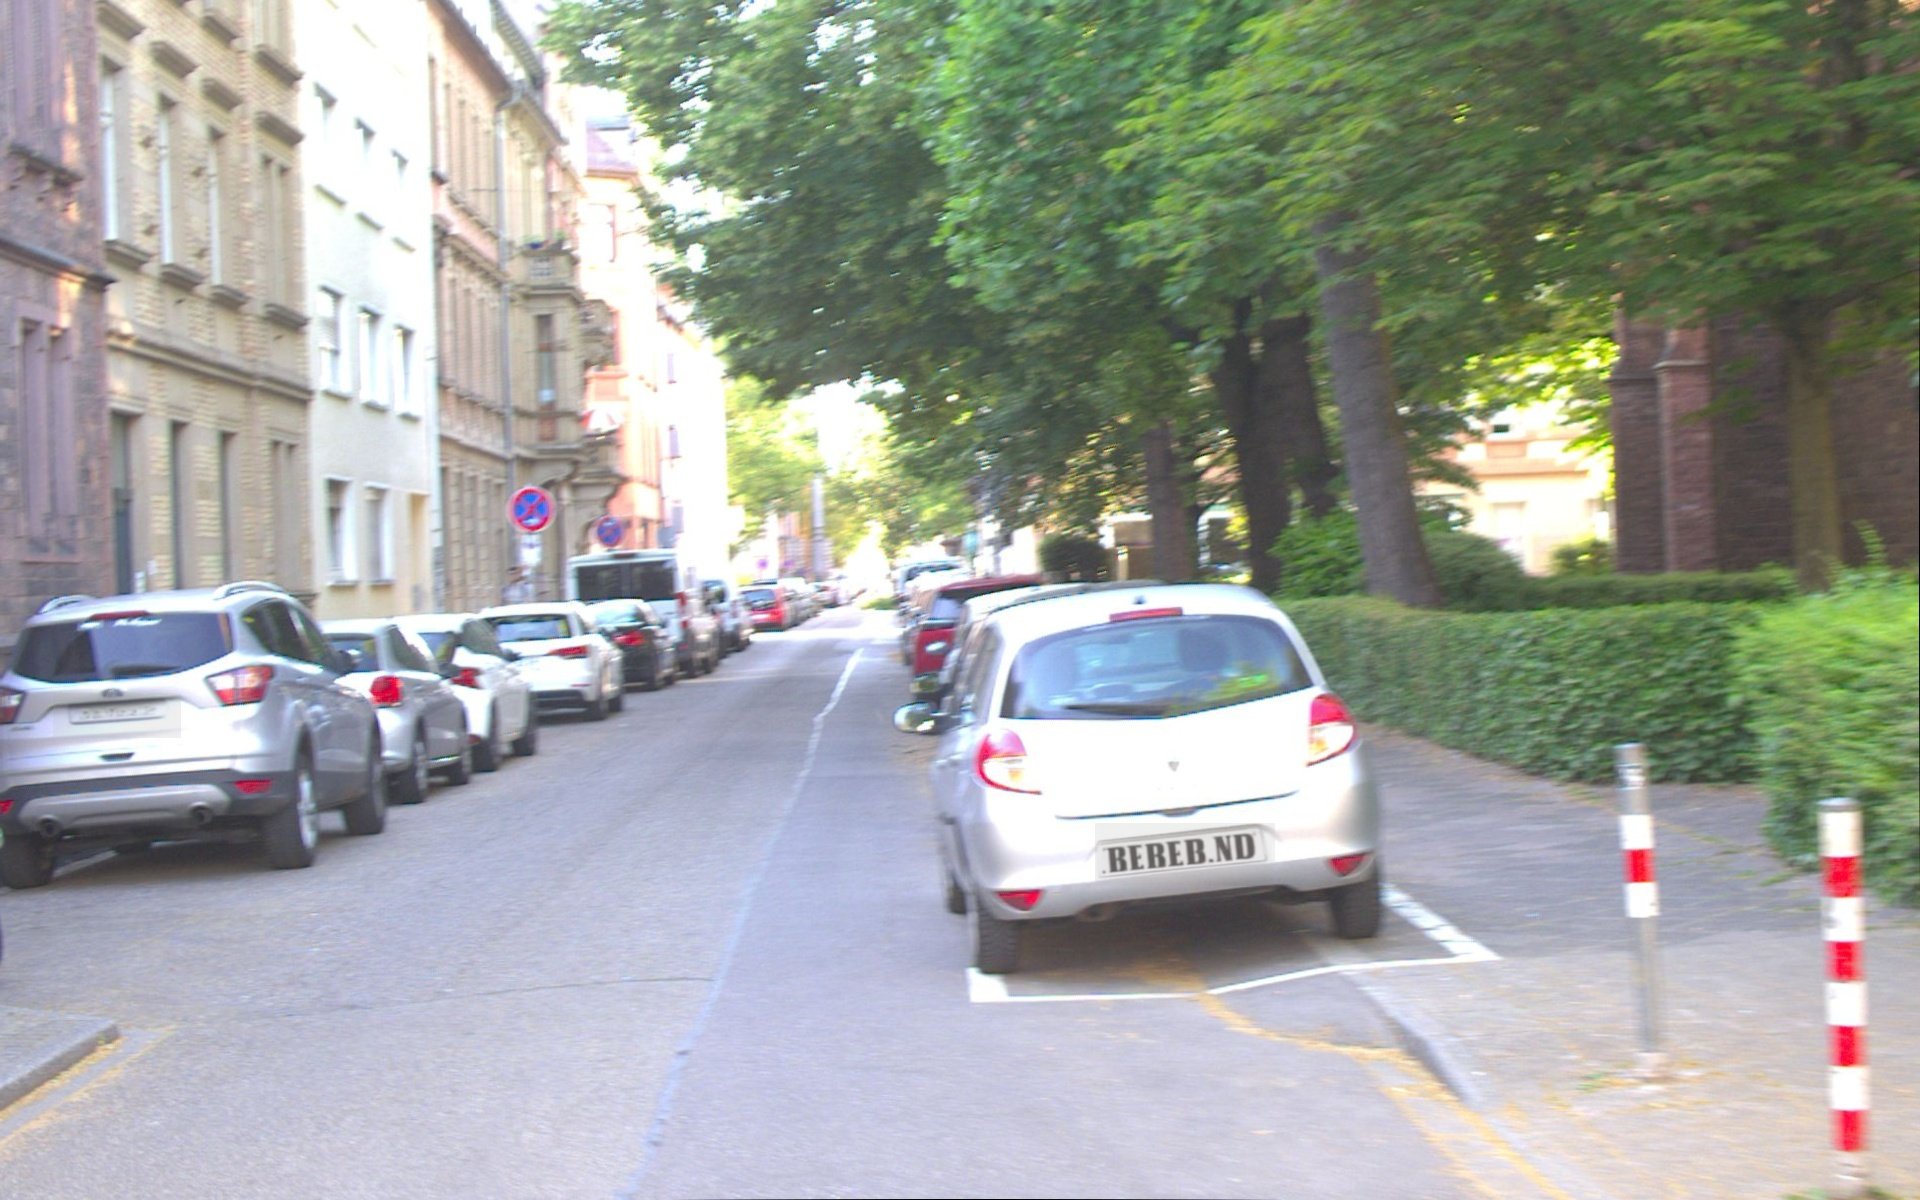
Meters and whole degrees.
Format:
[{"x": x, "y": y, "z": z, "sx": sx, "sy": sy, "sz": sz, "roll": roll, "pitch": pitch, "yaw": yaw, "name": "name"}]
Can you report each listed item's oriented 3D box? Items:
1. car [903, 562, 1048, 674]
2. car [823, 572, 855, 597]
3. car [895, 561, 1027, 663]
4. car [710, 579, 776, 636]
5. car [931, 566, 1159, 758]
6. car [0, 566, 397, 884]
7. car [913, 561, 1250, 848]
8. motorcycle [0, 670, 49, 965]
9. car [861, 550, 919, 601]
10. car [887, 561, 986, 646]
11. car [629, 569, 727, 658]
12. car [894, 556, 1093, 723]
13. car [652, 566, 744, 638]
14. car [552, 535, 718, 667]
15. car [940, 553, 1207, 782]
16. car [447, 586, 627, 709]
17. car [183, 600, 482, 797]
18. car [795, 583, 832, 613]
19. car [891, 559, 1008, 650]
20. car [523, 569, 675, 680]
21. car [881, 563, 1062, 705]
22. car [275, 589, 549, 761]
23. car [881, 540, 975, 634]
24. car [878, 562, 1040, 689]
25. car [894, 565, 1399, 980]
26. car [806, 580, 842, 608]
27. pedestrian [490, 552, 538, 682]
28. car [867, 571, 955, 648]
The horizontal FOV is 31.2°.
[{"x": 0.193, "y": 0.253, "z": 52.123, "sx": 1.993, "sy": 1.568, "sz": 4.000, "roll": -2, "pitch": 0, "yaw": -2, "name": "car"}, {"x": -8.050, "y": -1.026, "z": 228.874, "sx": 1.993, "sy": 1.641, "sz": 4.000, "roll": -2, "pitch": 0, "yaw": -1, "name": "car"}, {"x": -0.015, "y": 0.182, "z": 56.629, "sx": 1.993, "sy": 1.568, "sz": 4.000, "roll": -2, "pitch": 0, "yaw": -2, "name": "car"}, {"x": -6.889, "y": 0.225, "z": 109.472, "sx": 1.950, "sy": 1.703, "sz": 4.000, "roll": -2, "pitch": 0, "yaw": -3, "name": "car"}, {"x": 0.713, "y": 0.515, "z": 31.630, "sx": 1.841, "sy": 1.590, "sz": 4.000, "roll": -2, "pitch": 1, "yaw": -2, "name": "car"}, {"x": -4.795, "y": 0.699, "z": 21.301, "sx": 1.882, "sy": 1.701, "sz": 4.000, "roll": -3, "pitch": 0, "yaw": 0, "name": "car"}, {"x": 0.638, "y": 0.562, "z": 20.794, "sx": 1.723, "sy": 1.517, "sz": 4.000, "roll": -2, "pitch": 0, "yaw": -2, "name": "car"}, {"x": -4.816, "y": 0.919, "z": 14.853, "sx": 0.664, "sy": 1.203, "sz": 2.310, "roll": -2, "pitch": 0, "yaw": -43, "name": "motorcycle"}, {"x": -2.533, "y": -0.894, "z": 124.232, "sx": 1.993, "sy": 1.722, "sz": 4.000, "roll": -2, "pitch": 1, "yaw": -1, "name": "car"}, {"x": -0.491, "y": 0.060, "z": 68.044, "sx": 1.792, "sy": 1.568, "sz": 4.000, "roll": -2, "pitch": 0, "yaw": -2, "name": "car"}, {"x": -5.879, "y": 0.255, "z": 72.023, "sx": 1.792, "sy": 1.568, "sz": 4.001, "roll": -2, "pitch": 3, "yaw": -2, "name": "car"}, {"x": 0.299, "y": 0.386, "z": 36.456, "sx": 1.894, "sy": 1.620, "sz": 4.000, "roll": -2, "pitch": 0, "yaw": -2, "name": "car"}, {"x": -6.066, "y": 0.039, "z": 79.917, "sx": 1.902, "sy": 1.568, "sz": 4.000, "roll": -2, "pitch": 0, "yaw": -2, "name": "car"}, {"x": -5.541, "y": 0.004, "z": 59.277, "sx": 2.309, "sy": 2.107, "sz": 5.170, "roll": -2, "pitch": 0, "yaw": 0, "name": "car"}, {"x": 0.795, "y": 0.470, "z": 26.438, "sx": 1.741, "sy": 1.568, "sz": 4.000, "roll": -2, "pitch": 0, "yaw": -2, "name": "car"}, {"x": -5.115, "y": 0.543, "z": 41.970, "sx": 1.771, "sy": 1.349, "sz": 4.000, "roll": -1, "pitch": 1, "yaw": -1, "name": "car"}, {"x": -4.981, "y": 0.737, "z": 27.770, "sx": 1.725, "sy": 1.388, "sz": 4.000, "roll": -2, "pitch": 1, "yaw": -1, "name": "car"}, {"x": -8.397, "y": -0.146, "z": 197.788, "sx": 1.993, "sy": 1.641, "sz": 4.000, "roll": -2, "pitch": 0, "yaw": -1, "name": "car"}, {"x": -0.223, "y": 0.080, "z": 63.690, "sx": 1.993, "sy": 1.568, "sz": 4.000, "roll": -2, "pitch": 0, "yaw": -2, "name": "car"}, {"x": -5.489, "y": 0.352, "z": 52.709, "sx": 1.993, "sy": 1.568, "sz": 4.000, "roll": -2, "pitch": 0, "yaw": -2, "name": "car"}, {"x": 0.089, "y": 0.379, "z": 41.507, "sx": 1.993, "sy": 1.568, "sz": 4.000, "roll": -2, "pitch": 0, "yaw": -2, "name": "car"}, {"x": -5.064, "y": 0.658, "z": 32.283, "sx": 1.882, "sy": 1.406, "sz": 4.000, "roll": -3, "pitch": 0, "yaw": 0, "name": "car"}, {"x": -0.837, "y": -0.324, "z": 86.627, "sx": 2.160, "sy": 2.248, "sz": 4.526, "roll": -2, "pitch": 0, "yaw": -2, "name": "car"}, {"x": -0.059, "y": 0.317, "z": 46.328, "sx": 1.993, "sy": 1.568, "sz": 4.000, "roll": -2, "pitch": 0, "yaw": -2, "name": "car"}, {"x": 0.686, "y": 0.641, "z": 15.262, "sx": 1.723, "sy": 1.517, "sz": 4.001, "roll": -2, "pitch": 1, "yaw": -4, "name": "car"}, {"x": -8.153, "y": -0.366, "z": 206.381, "sx": 1.993, "sy": 1.641, "sz": 4.000, "roll": -2, "pitch": 0, "yaw": -1, "name": "car"}, {"x": -7.010, "y": 0.268, "z": 54.025, "sx": 0.684, "sy": 2.007, "sz": 0.692, "roll": -2, "pitch": 0, "yaw": -8, "name": "pedestrian"}, {"x": -1.088, "y": 0.188, "z": 74.543, "sx": 1.792, "sy": 1.568, "sz": 4.222, "roll": -2, "pitch": 0, "yaw": -2, "name": "car"}]
